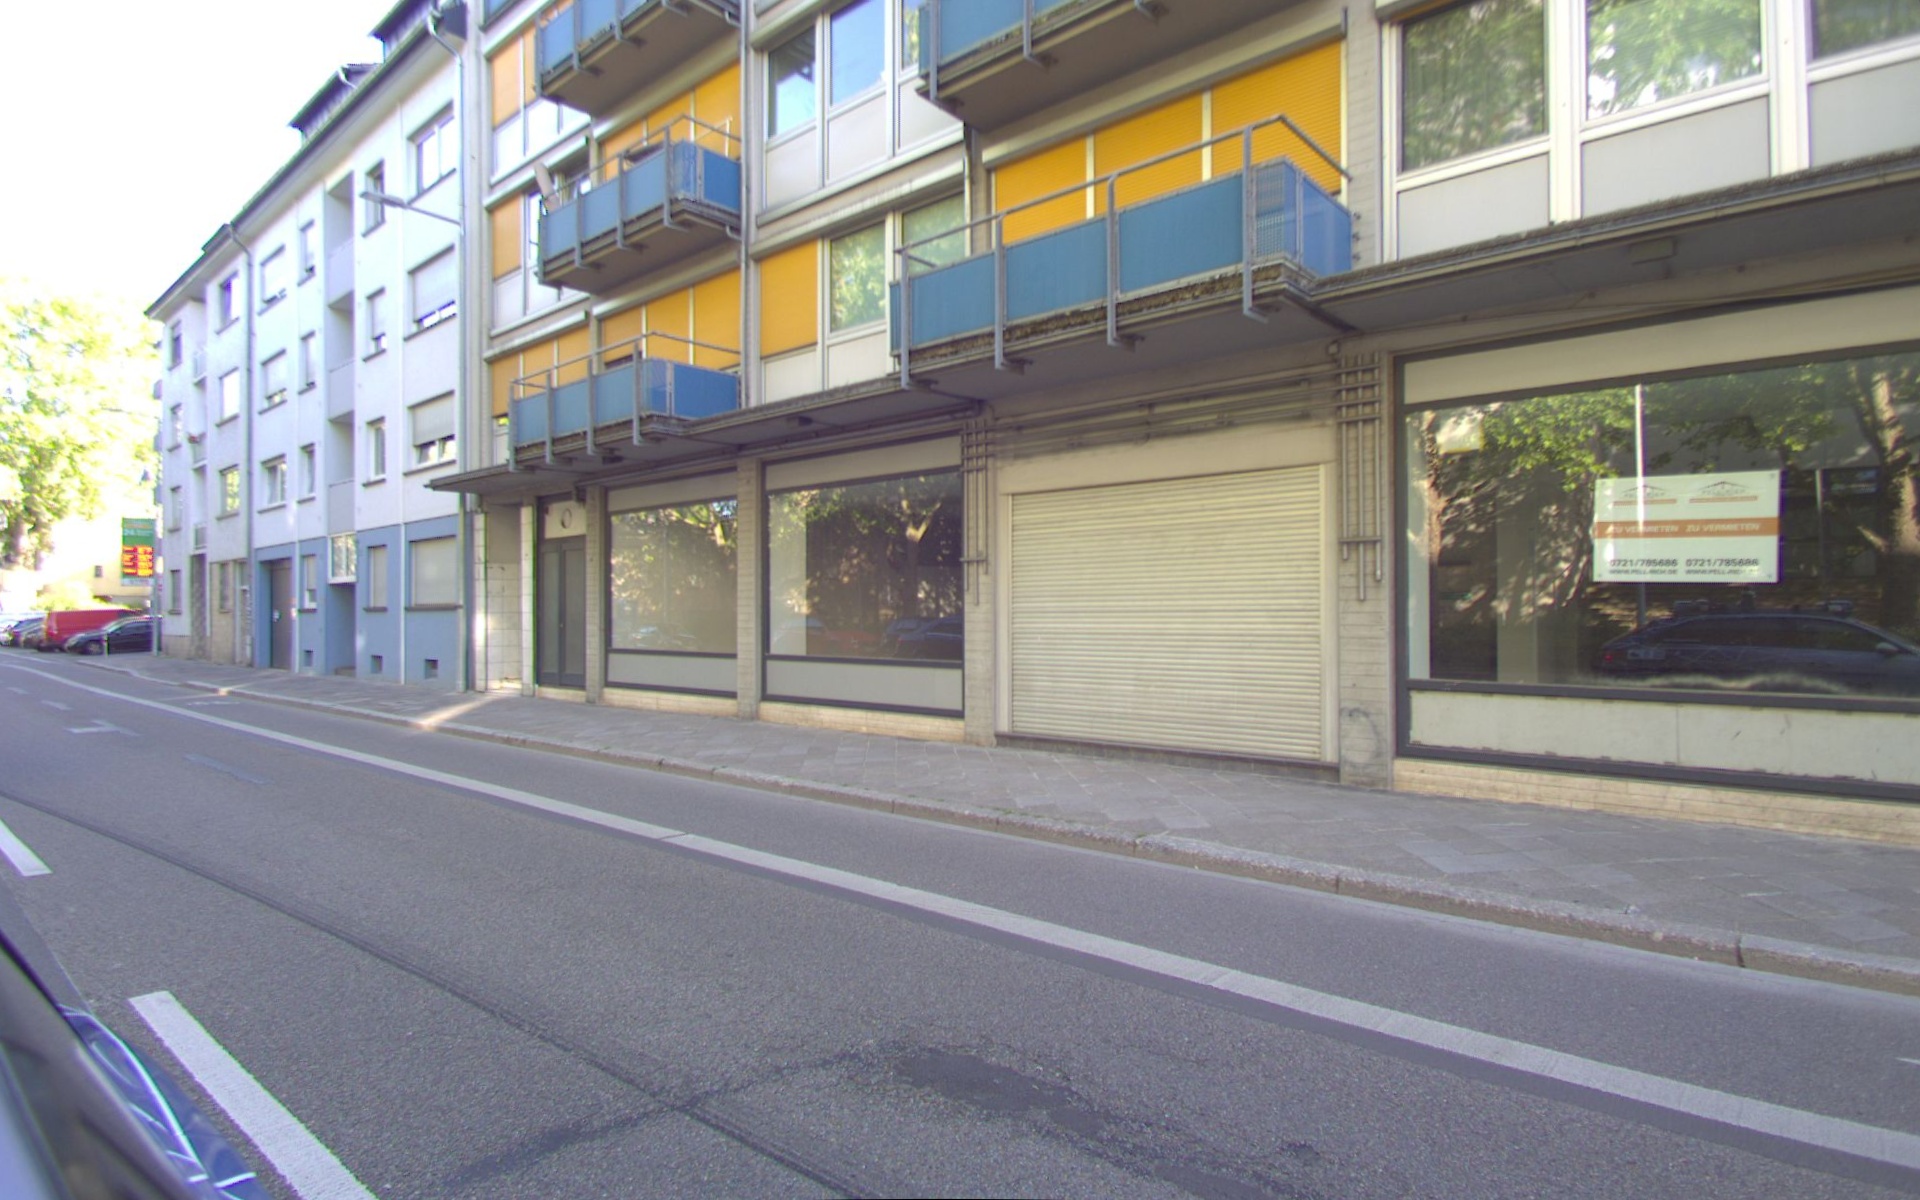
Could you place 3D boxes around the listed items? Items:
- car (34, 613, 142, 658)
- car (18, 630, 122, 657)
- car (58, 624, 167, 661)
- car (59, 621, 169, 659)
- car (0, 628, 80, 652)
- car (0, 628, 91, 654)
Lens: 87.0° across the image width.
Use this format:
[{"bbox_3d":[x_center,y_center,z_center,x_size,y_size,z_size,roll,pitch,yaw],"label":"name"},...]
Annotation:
[{"bbox_3d":[-40.643,1.646,47.223,1.488,1.923,3.642,-4,-2,39],"label":"car"},{"bbox_3d":[-42.806,2.072,48.738,1.345,1.137,3.638,-1,0,43],"label":"car"},{"bbox_3d":[-36.668,1.809,43.843,1.490,1.398,3.462,-1,0,43],"label":"car"},{"bbox_3d":[-38.184,1.766,45.723,1.490,1.523,3.638,-1,0,43],"label":"car"},{"bbox_3d":[-52.251,2.248,57.505,1.345,1.254,3.228,-1,0,43],"label":"car"},{"bbox_3d":[-50.437,2.240,55.875,1.345,1.254,3.638,-1,0,43],"label":"car"}]
